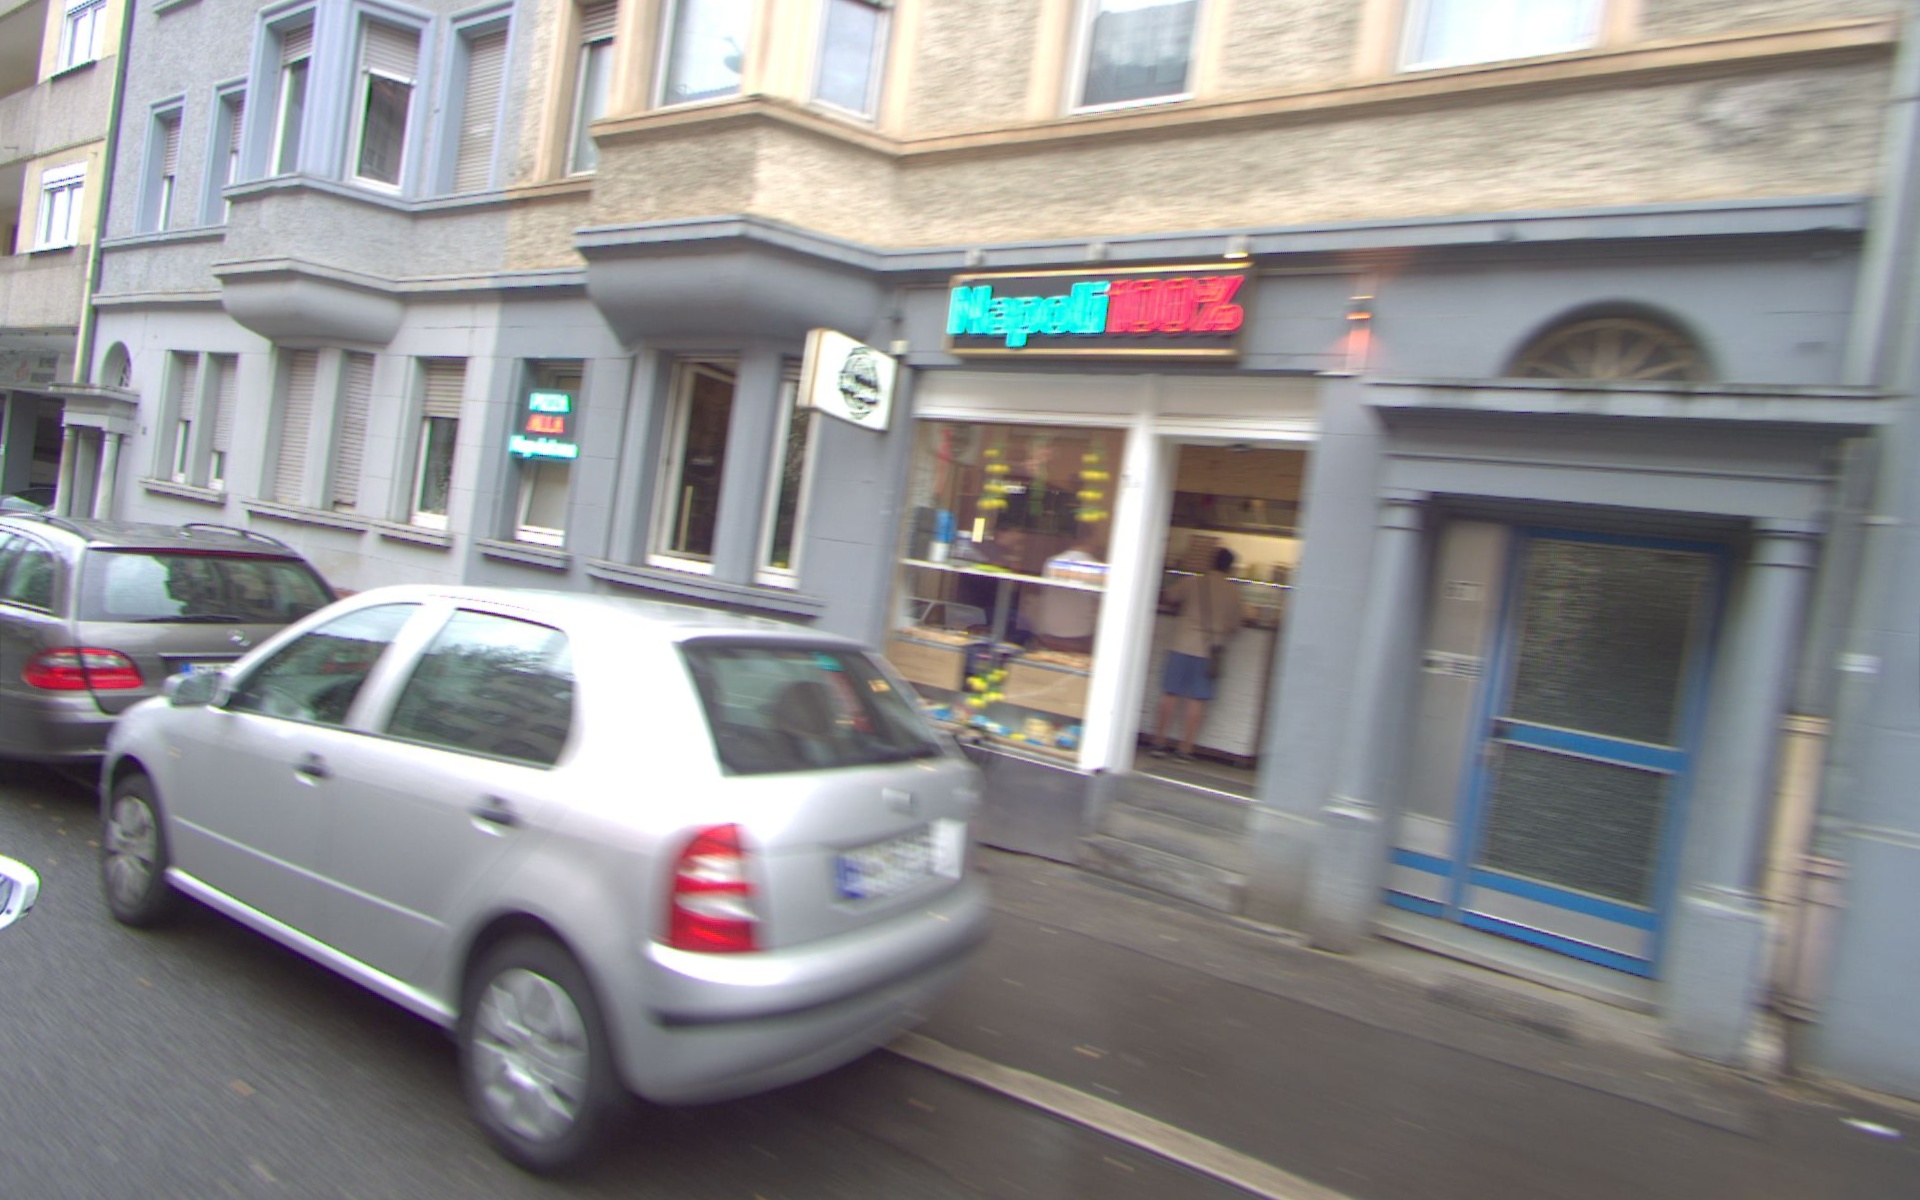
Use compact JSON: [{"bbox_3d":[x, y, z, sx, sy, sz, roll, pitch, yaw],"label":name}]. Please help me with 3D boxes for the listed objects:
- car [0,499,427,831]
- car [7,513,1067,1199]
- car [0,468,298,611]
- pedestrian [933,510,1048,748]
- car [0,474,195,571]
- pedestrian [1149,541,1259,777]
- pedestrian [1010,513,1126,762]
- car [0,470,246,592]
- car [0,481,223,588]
[{"bbox_3d":[-5.905,0.156,6.858,4.720,1.498,1.900,7,2,33],"label":"car"},{"bbox_3d":[-1.798,0.655,3.847,3.949,1.491,1.614,7,-2,32],"label":"car"},{"bbox_3d":[-14.589,-1.046,17.954,4.310,1.827,1.983,8,1,-41],"label":"car"},{"bbox_3d":[0.224,0.210,7.476,0.655,1.640,0.485,6,1,2],"label":"pedestrian"},{"bbox_3d":[-20.387,-1.819,23.016,1.644,1.661,4.278,9,1,44],"label":"car"},{"bbox_3d":[1.810,0.425,7.468,0.591,1.640,0.417,7,1,15],"label":"pedestrian"},{"bbox_3d":[0.765,0.257,7.107,0.613,1.640,0.417,7,1,8],"label":"pedestrian"},{"bbox_3d":[-16.678,-1.347,19.435,1.883,1.747,4.317,9,1,44],"label":"car"},{"bbox_3d":[-18.202,-1.385,20.956,1.644,1.661,4.278,9,1,44],"label":"car"}]
